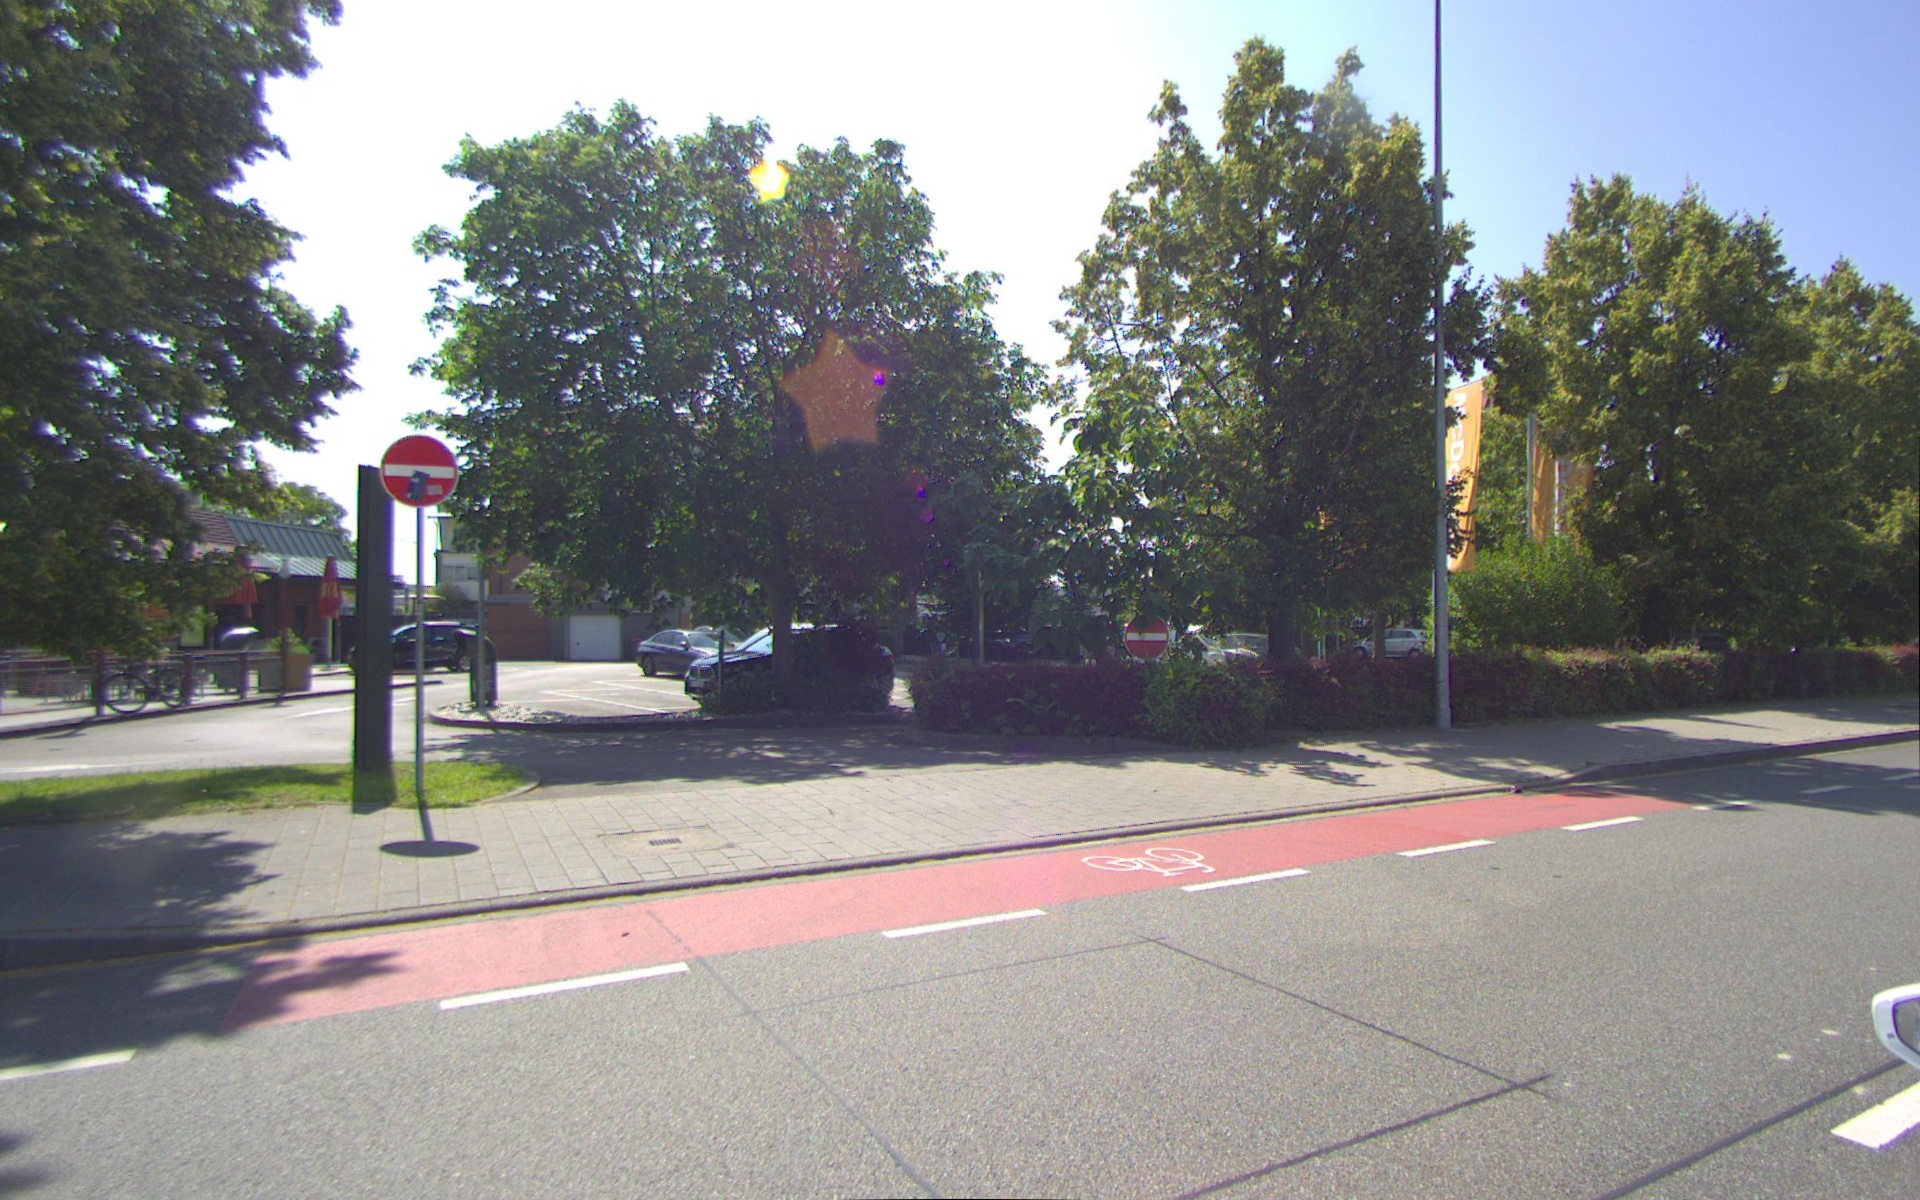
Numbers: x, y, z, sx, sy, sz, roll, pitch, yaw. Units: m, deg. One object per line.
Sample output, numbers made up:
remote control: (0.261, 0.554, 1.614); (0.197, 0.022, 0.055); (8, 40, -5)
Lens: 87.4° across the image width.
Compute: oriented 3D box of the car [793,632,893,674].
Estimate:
car: (-4.142, 1.855, 35.819); (3.323, 1.394, 1.570); (1, -2, -45)

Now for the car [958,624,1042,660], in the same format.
car: (1.864, 1.985, 47.653); (1.784, 1.619, 3.953); (1, -2, -41)

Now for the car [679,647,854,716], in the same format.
car: (-4.085, 1.697, 21.835); (1.579, 1.303, 3.994); (-1, -2, 29)

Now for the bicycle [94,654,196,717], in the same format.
bicycle: (-14.389, 1.480, 17.787); (0.302, 1.005, 1.859); (0, -2, 0)

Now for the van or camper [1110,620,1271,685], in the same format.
van or camper: (6.701, 1.488, 29.462); (4.225, 1.763, 1.988); (-2, -2, 44)

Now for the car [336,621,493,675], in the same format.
car: (-18.226, 1.563, 33.687); (4.321, 1.707, 1.752); (1, -2, -44)

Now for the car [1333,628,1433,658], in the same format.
car: (21.257, 2.129, 50.536); (4.225, 1.457, 1.988); (-2, -2, 44)

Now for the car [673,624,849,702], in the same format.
car: (-4.837, 1.483, 24.925); (1.691, 1.758, 4.231); (-1, -2, 38)

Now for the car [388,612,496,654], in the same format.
car: (-27.861, 1.778, 54.143); (4.715, 2.206, 1.998); (0, -2, -8)

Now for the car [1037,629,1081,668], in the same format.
car: (4.071, 1.975, 41.827); (1.472, 1.546, 3.434); (0, -2, 0)

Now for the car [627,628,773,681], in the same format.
car: (-7.810, 1.585, 30.011); (4.323, 1.457, 1.992); (-2, -2, 37)
